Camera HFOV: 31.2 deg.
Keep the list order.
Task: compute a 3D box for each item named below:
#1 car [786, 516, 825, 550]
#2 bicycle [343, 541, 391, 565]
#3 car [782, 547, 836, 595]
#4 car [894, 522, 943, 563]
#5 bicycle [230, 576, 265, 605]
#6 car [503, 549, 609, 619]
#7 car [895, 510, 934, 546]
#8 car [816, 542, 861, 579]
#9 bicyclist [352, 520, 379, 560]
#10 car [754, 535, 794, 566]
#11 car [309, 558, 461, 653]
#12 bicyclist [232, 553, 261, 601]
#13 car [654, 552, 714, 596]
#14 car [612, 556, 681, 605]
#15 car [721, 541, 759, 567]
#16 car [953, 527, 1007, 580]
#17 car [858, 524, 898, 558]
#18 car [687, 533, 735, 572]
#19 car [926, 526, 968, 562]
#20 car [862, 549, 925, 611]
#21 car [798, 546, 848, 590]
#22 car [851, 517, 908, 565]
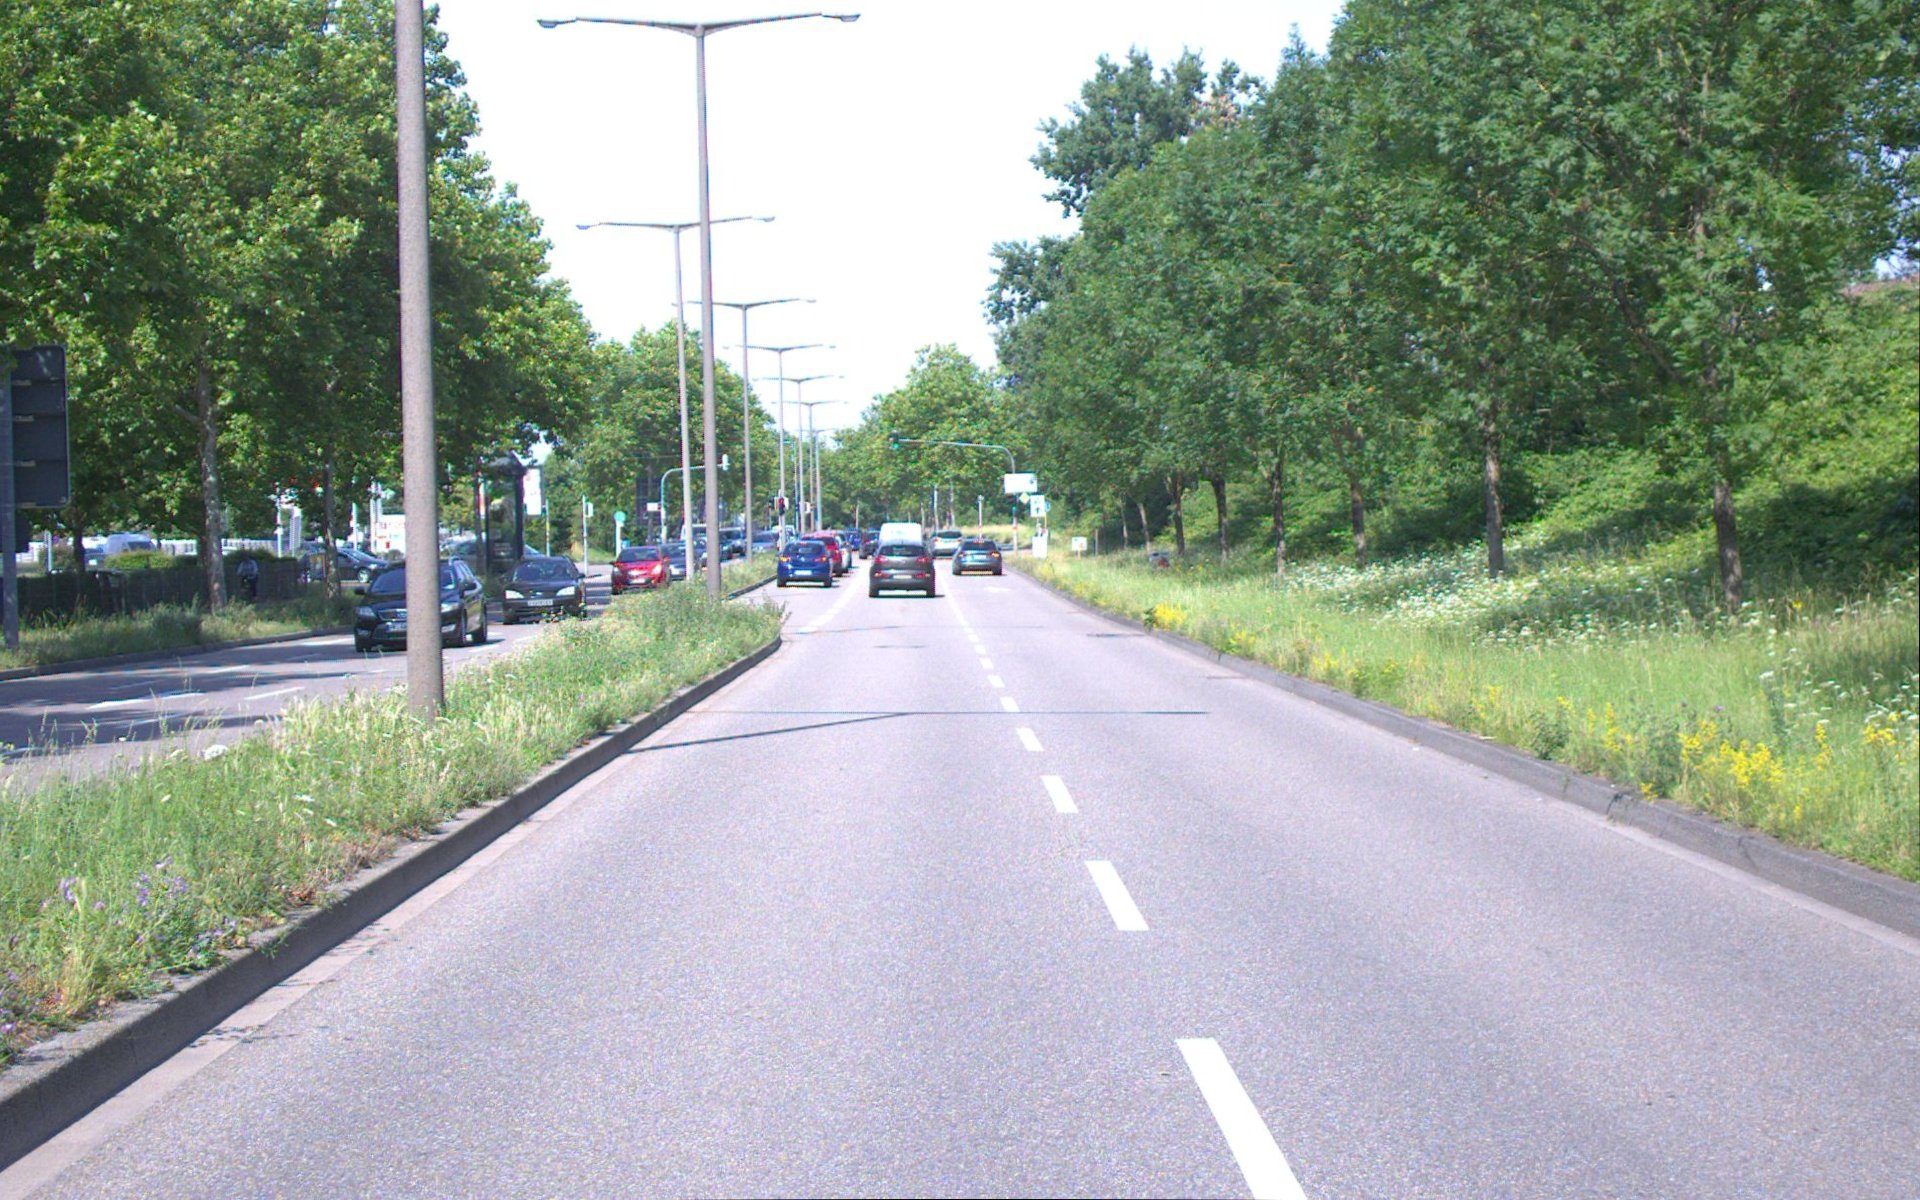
[{"bbox_3d":[-8.866,-3.845,197.827,1.993,1.853,4.000,-1,1,1],"label":"car"},{"bbox_3d":[-26.328,-2.084,152.730,1.948,0.979,0.789,-3,4,-36],"label":"bicycle"},{"bbox_3d":[-4.818,-0.934,110.333,1.626,1.478,4.049,1,1,-1],"label":"car"},{"bbox_3d":[-1.761,-2.455,146.815,1.993,1.702,4.263,-1,1,0],"label":"car"},{"bbox_3d":[-22.406,-0.291,108.086,0.689,0.863,1.926,-2,1,-1],"label":"bicycle"},{"bbox_3d":[-9.002,-0.382,76.896,1.772,1.462,4.671,-2,1,0],"label":"car"},{"bbox_3d":[-2.641,-4.151,197.540,1.993,2.007,4.001,-1,1,-4],"label":"car"},{"bbox_3d":[-5.317,-1.742,150.629,1.881,1.612,4.213,0,1,-1],"label":"car"},{"bbox_3d":[-26.388,-2.672,152.651,0.897,1.709,0.783,-3,4,-36],"label":"bicyclist"},{"bbox_3d":[-11.048,-2.927,204.469,1.993,1.769,4.000,-1,1,2],"label":"car"},{"bbox_3d":[-9.443,0.056,56.771,1.827,1.462,4.989,-1,1,-2],"label":"car"},{"bbox_3d":[-22.419,-0.734,108.036,0.681,1.480,0.942,-2,1,-1],"label":"bicyclist"},{"bbox_3d":[-9.795,-0.945,122.402,1.839,1.473,4.166,-1,1,-1],"label":"car"},{"bbox_3d":[-9.911,-0.624,108.982,1.763,1.457,4.000,-2,1,0],"label":"car"},{"bbox_3d":[-13.291,-2.788,207.494,1.993,1.525,4.682,-2,1,-1],"label":"car"},{"bbox_3d":[0.759,-1.805,132.473,2.018,1.831,4.001,0,3,0],"label":"car"},{"bbox_3d":[-4.106,-2.968,173.365,1.934,1.641,4.000,-1,1,0],"label":"car"},{"bbox_3d":[-12.446,-2.387,171.868,2.116,1.877,5.420,-2,1,-2],"label":"car"},{"bbox_3d":[-0.666,-2.782,171.050,1.993,1.702,4.263,-1,1,-1],"label":"car"},{"bbox_3d":[-1.862,-0.581,97.020,1.736,1.530,4.001,0,3,0],"label":"car"},{"bbox_3d":[-5.107,-1.213,128.616,1.782,1.587,4.594,0,1,-1],"label":"car"},{"bbox_3d":[-2.919,-2.170,124.908,1.993,1.678,4.000,-1,1,-1],"label":"car"}]
